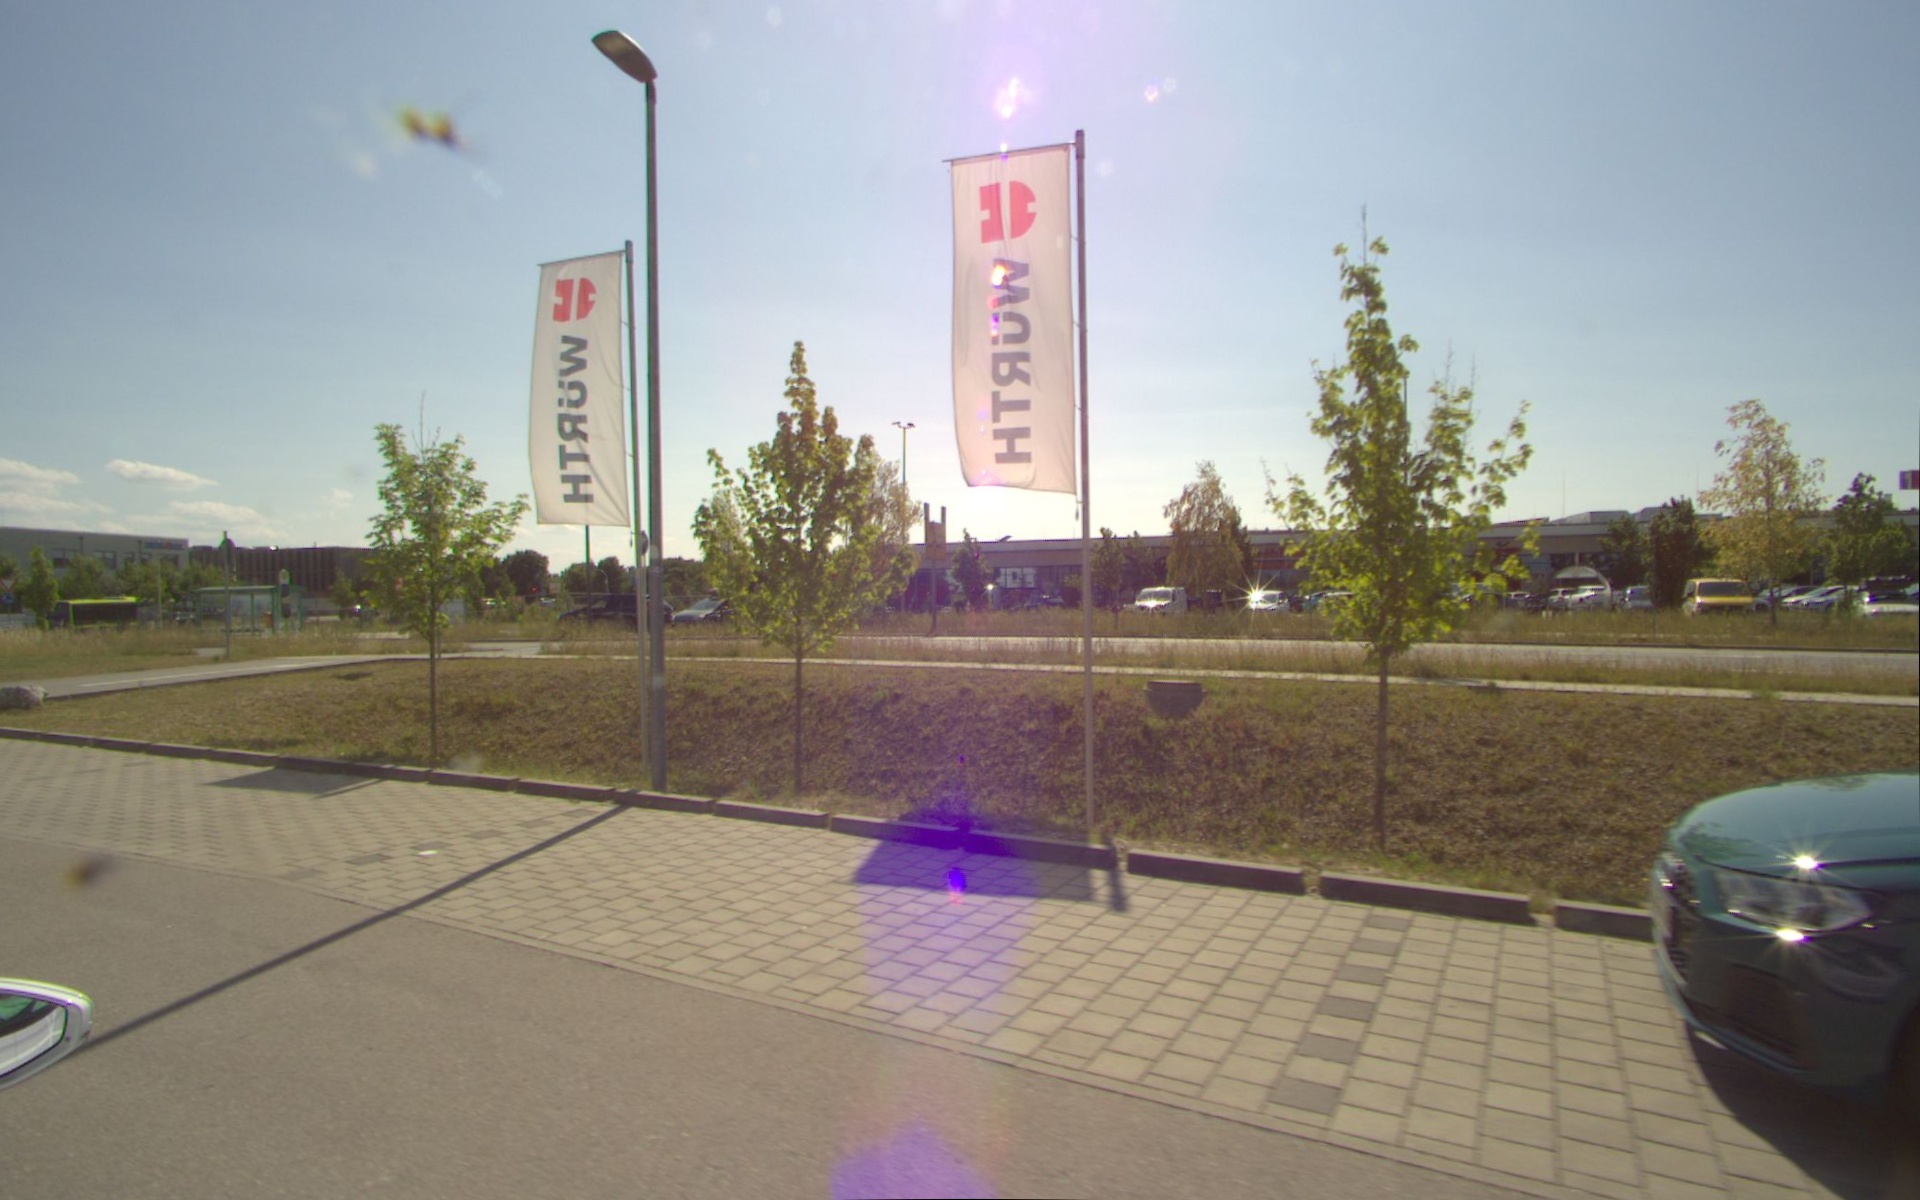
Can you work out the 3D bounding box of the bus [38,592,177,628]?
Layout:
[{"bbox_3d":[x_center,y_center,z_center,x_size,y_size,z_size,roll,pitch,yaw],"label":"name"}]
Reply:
[{"bbox_3d":[-70.085,0.708,82.792,2.531,2.772,11.563,0,0,-6],"label":"bus"}]

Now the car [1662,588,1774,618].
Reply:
[{"bbox_3d":[39.243,0.169,51.946,4.272,1.540,1.652,0,0,19],"label":"car"}]

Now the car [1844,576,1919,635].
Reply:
[{"bbox_3d":[34.031,0.163,36.571,1.916,2.041,4.385,0,1,33],"label":"car"}]

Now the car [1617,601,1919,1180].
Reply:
[{"bbox_3d":[4.265,0.750,2.575,4.163,1.469,1.837,0,1,30],"label":"car"}]

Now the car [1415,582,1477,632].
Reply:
[{"bbox_3d":[21.384,0.284,43.935,2.132,2.040,5.091,0,0,30],"label":"car"}]

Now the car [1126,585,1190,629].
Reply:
[{"bbox_3d":[9.898,0.322,49.742,2.053,2.040,5.212,0,0,24],"label":"car"}]

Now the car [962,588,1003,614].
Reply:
[{"bbox_3d":[1.911,0.085,82.215,2.188,2.003,6.690,-1,0,12],"label":"car"}]

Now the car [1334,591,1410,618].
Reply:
[{"bbox_3d":[22.887,0.261,55.772,3.662,1.409,1.730,-1,0,13],"label":"car"}]

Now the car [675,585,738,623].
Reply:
[{"bbox_3d":[-10.631,0.184,42.258,1.961,1.537,4.195,0,0,-6],"label":"car"}]

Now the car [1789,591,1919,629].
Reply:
[{"bbox_3d":[44.977,0.499,50.482,4.403,1.888,1.997,0,0,17],"label":"car"}]

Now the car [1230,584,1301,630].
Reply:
[{"bbox_3d":[14.563,0.310,47.552,2.132,2.040,5.091,0,0,30],"label":"car"}]

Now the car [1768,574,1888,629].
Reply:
[{"bbox_3d":[45.966,0.084,53.121,4.399,2.859,1.999,0,0,11],"label":"car"}]

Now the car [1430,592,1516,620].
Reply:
[{"bbox_3d":[28.075,0.335,54.903,3.928,1.528,1.872,0,0,18],"label":"car"}]

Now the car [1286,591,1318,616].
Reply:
[{"bbox_3d":[25.474,0.249,74.748,1.963,1.730,3.995,-1,0,15],"label":"car"}]

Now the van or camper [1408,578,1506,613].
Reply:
[{"bbox_3d":[29.723,-0.244,60.055,4.962,2.041,1.996,0,1,19],"label":"van or camper"}]

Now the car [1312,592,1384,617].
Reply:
[{"bbox_3d":[22.663,0.244,58.591,3.662,1.409,1.730,-1,0,13],"label":"car"}]

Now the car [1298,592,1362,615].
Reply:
[{"bbox_3d":[23.754,0.211,64.453,3.662,1.409,1.730,-1,0,13],"label":"car"}]

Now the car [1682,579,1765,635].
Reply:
[{"bbox_3d":[29.764,0.249,39.176,2.134,2.040,5.087,0,0,33],"label":"car"}]

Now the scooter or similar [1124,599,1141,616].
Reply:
[{"bbox_3d":[10.926,0.480,63.398,0.930,1.094,0.651,0,1,21],"label":"scooter or similar"}]
